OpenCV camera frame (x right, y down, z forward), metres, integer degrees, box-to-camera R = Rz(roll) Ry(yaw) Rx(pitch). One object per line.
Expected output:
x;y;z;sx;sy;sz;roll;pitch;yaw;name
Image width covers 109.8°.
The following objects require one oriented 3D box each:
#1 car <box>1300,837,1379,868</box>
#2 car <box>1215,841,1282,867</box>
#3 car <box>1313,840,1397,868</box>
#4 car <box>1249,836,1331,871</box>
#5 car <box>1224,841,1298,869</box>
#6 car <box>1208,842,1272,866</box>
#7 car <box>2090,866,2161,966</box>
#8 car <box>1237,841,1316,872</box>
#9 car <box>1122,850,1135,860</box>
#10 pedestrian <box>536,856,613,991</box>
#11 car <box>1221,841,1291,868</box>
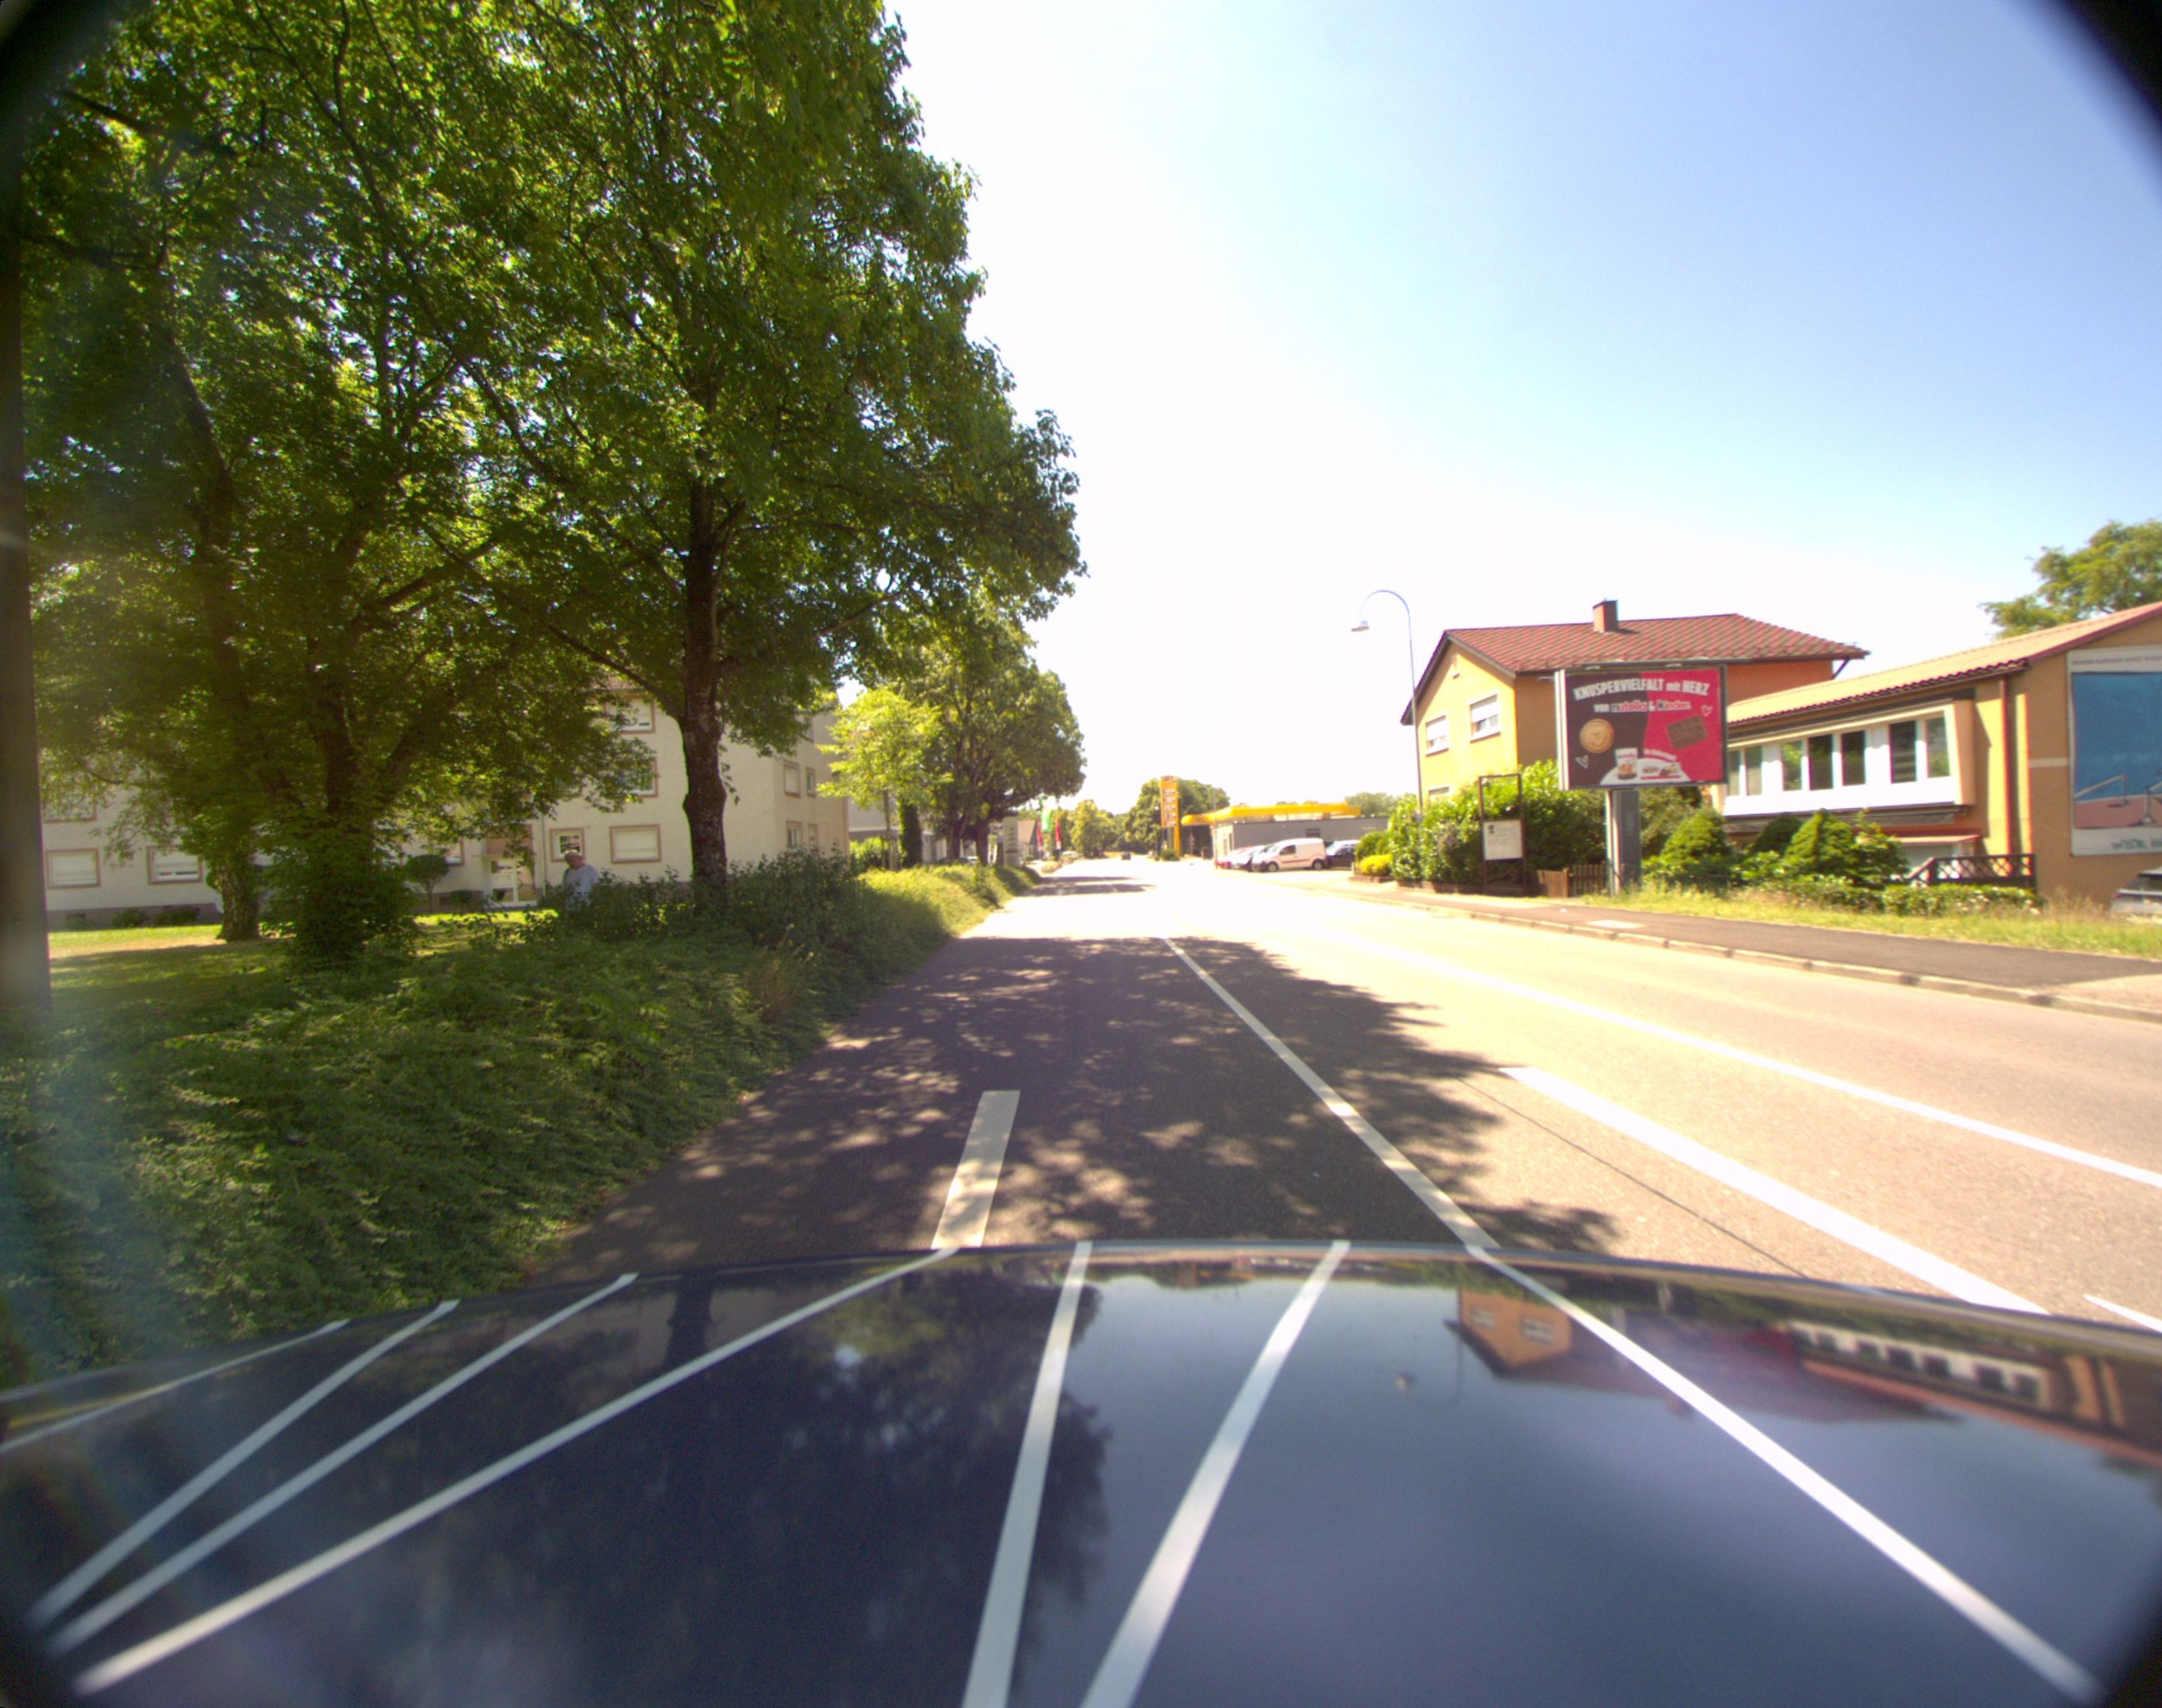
16.479;-0.102;48.588;4.402;1.815;1.874;-2;1;-5;car
12.242;-0.013;55.565;4.402;1.750;1.874;-2;1;-5;car
16.703;-0.015;46.433;4.402;1.554;1.874;-2;1;-5;car
12.157;-0.032;44.408;4.191;1.858;1.874;-2;1;-5;car
12.058;0.068;51.061;4.402;1.750;1.874;-2;1;-5;car
12.102;-0.005;57.947;4.402;1.750;1.874;-2;1;-5;car
19.869;0.989;12.324;4.224;1.599;1.772;-1;1;7;car
11.913;0.117;46.503;4.246;1.750;1.874;-2;1;-5;car
7.569;0.116;121.415;1.809;1.552;4.063;-2;1;1;car
-7.448;0.976;11.206;0.675;1.863;0.901;-3;1;-22;pedestrian
12.247;0.030;53.308;4.402;1.750;1.874;-2;1;-5;car
